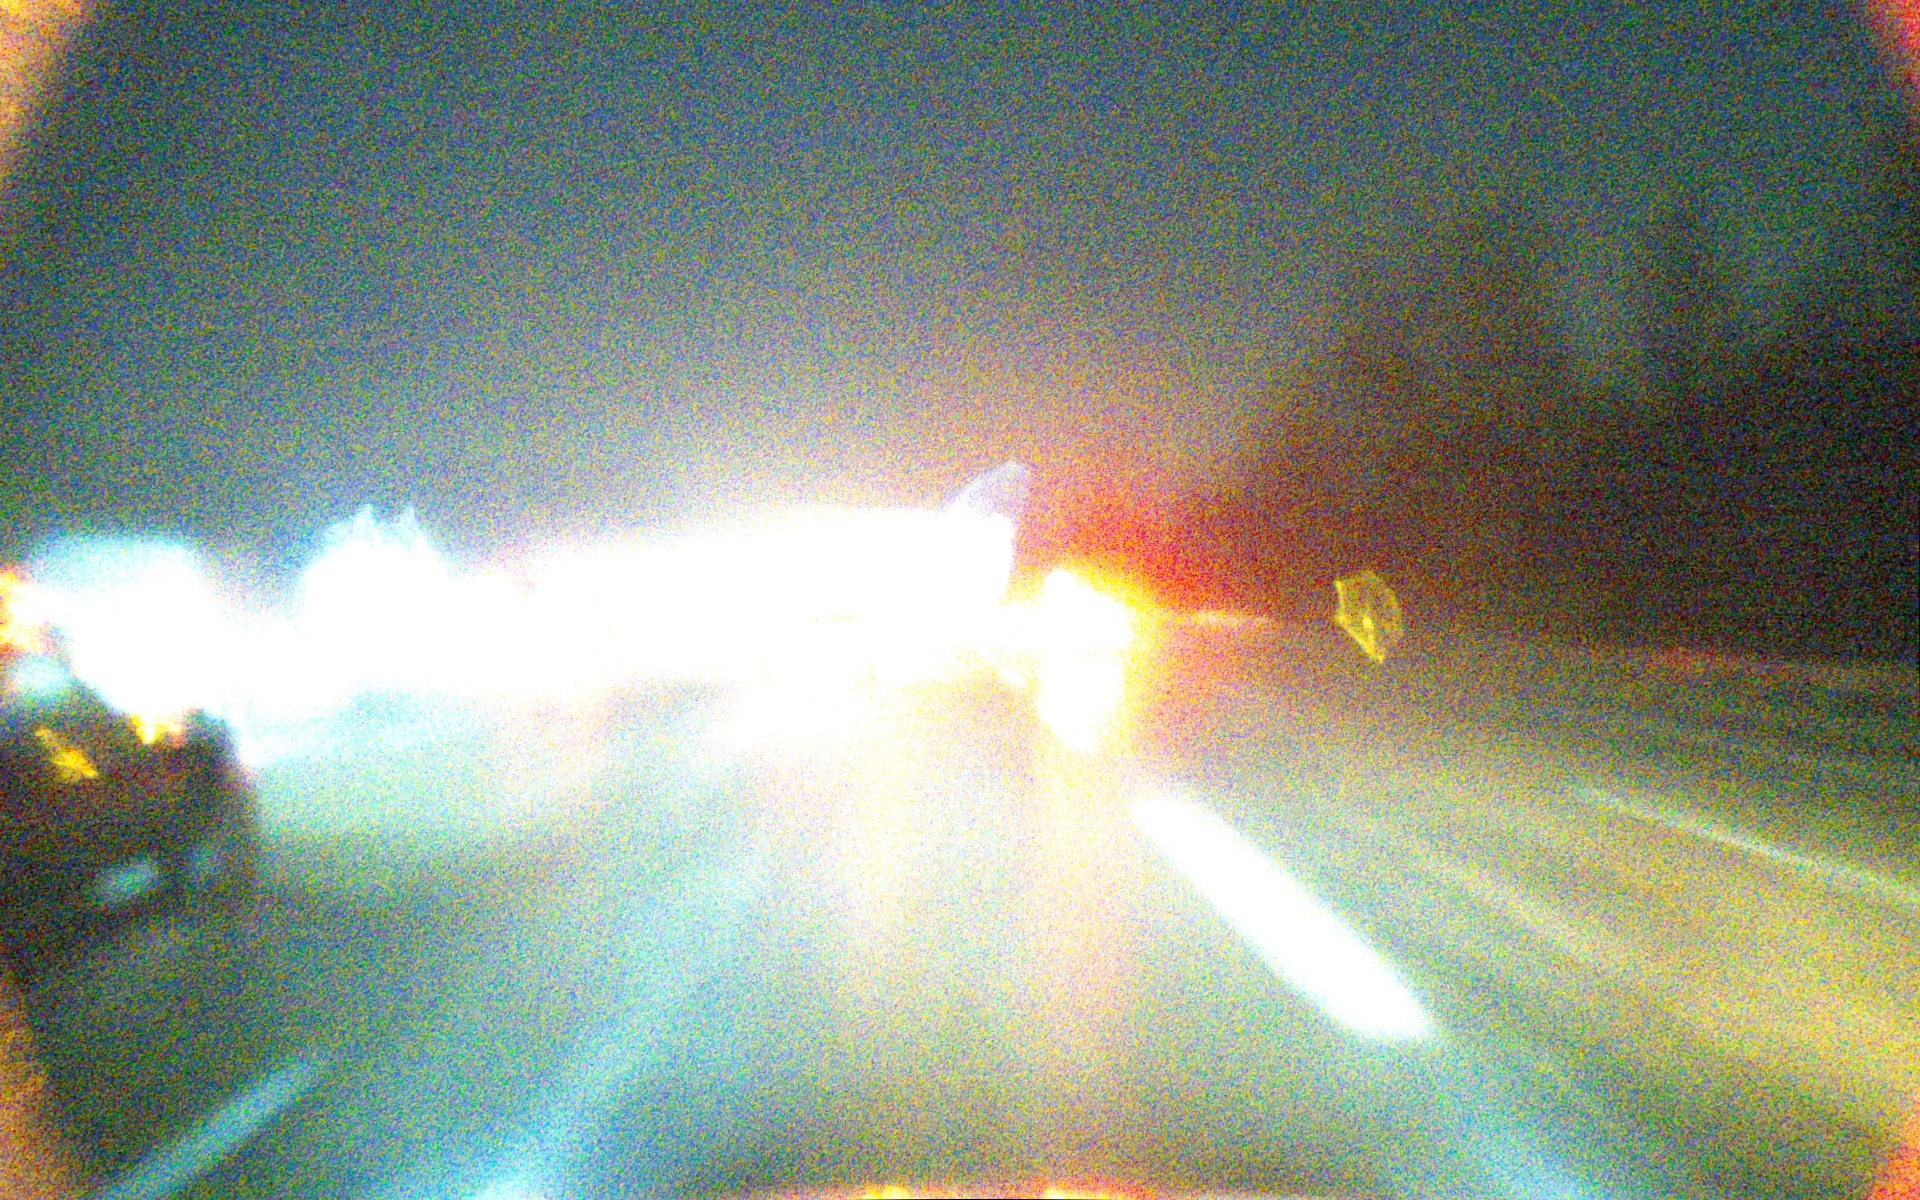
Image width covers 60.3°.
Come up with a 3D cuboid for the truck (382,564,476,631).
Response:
[{"bbox_3d":[-25.517,-0.106,79.814,2.401,3.052,6.700,1,0,-1],"label":"truck"}]

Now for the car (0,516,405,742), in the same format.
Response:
[{"bbox_3d":[-8.255,0.282,18.699,2.080,2.141,5.628,1,0,-1],"label":"car"}]

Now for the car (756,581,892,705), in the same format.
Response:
[{"bbox_3d":[-1.989,0.593,25.235,1.729,1.719,4.000,1,0,0],"label":"car"}]

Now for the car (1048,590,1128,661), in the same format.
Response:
[{"bbox_3d":[3.440,0.678,45.163,1.839,1.793,4.000,1,0,0],"label":"car"}]

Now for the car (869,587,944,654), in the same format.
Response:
[{"bbox_3d":[-1.490,0.573,47.414,1.997,1.792,4.514,1,0,-1],"label":"car"}]

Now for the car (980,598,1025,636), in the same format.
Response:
[{"bbox_3d":[2.015,0.806,79.226,1.953,1.733,4.457,1,0,-1],"label":"car"}]

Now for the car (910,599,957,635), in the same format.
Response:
[{"bbox_3d":[-1.582,1.027,101.103,2.775,2.049,5.509,1,0,0],"label":"car"}]

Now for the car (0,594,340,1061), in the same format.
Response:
[{"bbox_3d":[-3.873,0.715,6.215,1.623,1.456,4.244,1,0,-2],"label":"car"}]

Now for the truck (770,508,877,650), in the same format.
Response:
[{"bbox_3d":[-5.123,-0.684,61.919,3.585,4.820,9.842,1,0,-5],"label":"truck"}]

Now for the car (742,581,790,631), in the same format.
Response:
[{"bbox_3d":[-9.586,0.297,81.595,2.220,2.313,5.377,1,0,-7],"label":"car"}]

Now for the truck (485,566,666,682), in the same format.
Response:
[{"bbox_3d":[-8.123,0.499,35.645,2.800,2.239,5.854,1,0,-3],"label":"truck"}]

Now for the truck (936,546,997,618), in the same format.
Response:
[{"bbox_3d":[0.397,-1.342,129.810,4.079,5.306,9.946,1,0,-3],"label":"truck"}]

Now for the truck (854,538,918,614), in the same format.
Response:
[{"bbox_3d":[-5.599,-1.744,127.653,4.166,5.539,10.884,1,0,1],"label":"truck"}]
